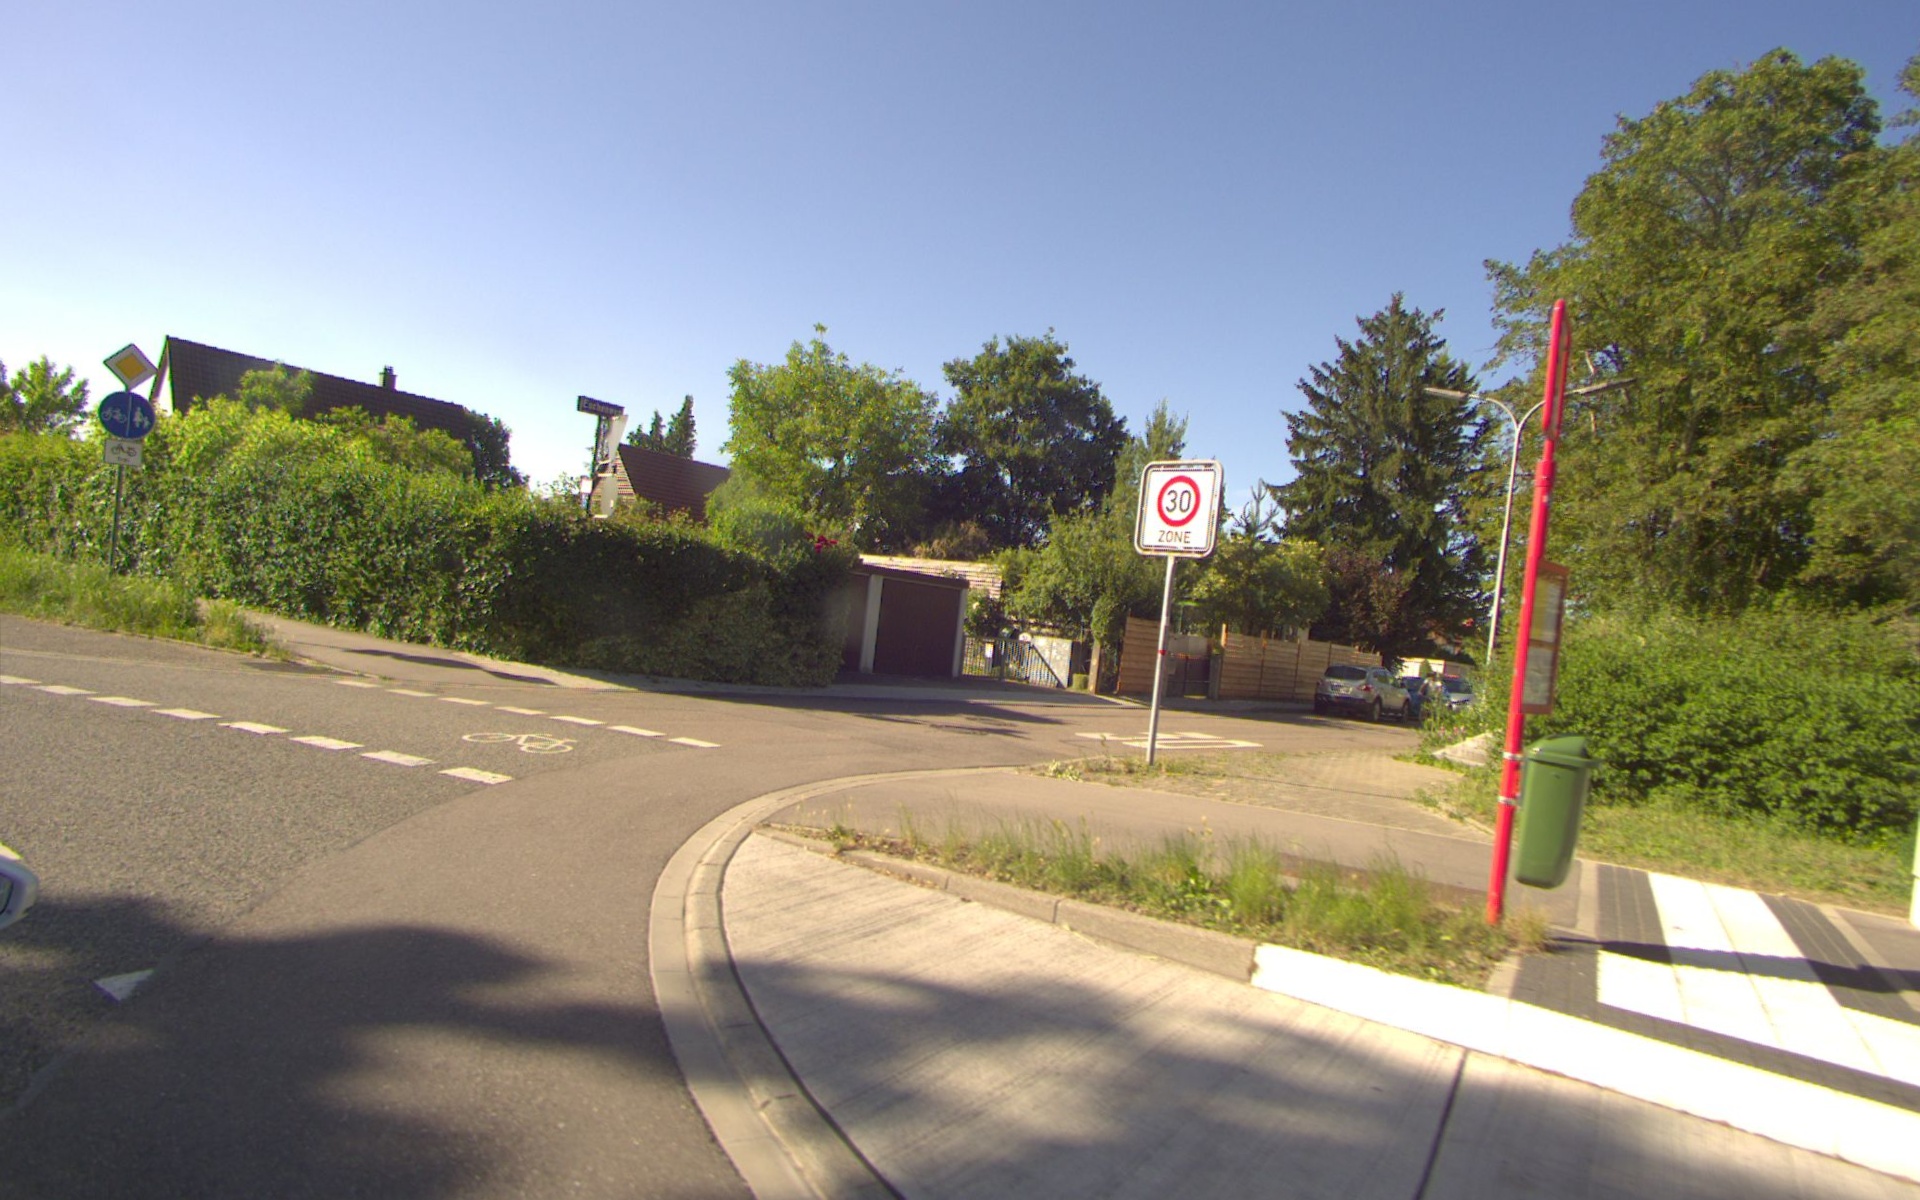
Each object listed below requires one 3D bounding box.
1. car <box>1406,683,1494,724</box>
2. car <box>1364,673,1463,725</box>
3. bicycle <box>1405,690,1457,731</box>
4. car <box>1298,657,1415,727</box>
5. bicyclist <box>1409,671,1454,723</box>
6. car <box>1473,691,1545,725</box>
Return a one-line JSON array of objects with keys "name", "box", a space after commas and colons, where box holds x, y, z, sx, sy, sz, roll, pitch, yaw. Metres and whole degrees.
[{"name": "car", "box": [18.681, 3.929, 38.305, 2.040, 1.191, 3.701, 6, 0, 41]}, {"name": "car", "box": [15.712, 3.445, 34.761, 2.040, 1.392, 3.703, 6, -2, 41]}, {"name": "bicycle", "box": [13.747, 3.233, 29.325, 0.694, 1.054, 2.412, 7, -1, 40]}, {"name": "car", "box": [11.927, 2.782, 30.143, 2.040, 1.606, 3.705, 6, -3, 41]}, {"name": "bicyclist", "box": [13.781, 2.840, 29.387, 0.777, 1.414, 1.108, 7, 0, 40]}, {"name": "car", "box": [24.834, 4.878, 45.494, 2.040, 1.191, 3.701, 6, 0, 41]}]
